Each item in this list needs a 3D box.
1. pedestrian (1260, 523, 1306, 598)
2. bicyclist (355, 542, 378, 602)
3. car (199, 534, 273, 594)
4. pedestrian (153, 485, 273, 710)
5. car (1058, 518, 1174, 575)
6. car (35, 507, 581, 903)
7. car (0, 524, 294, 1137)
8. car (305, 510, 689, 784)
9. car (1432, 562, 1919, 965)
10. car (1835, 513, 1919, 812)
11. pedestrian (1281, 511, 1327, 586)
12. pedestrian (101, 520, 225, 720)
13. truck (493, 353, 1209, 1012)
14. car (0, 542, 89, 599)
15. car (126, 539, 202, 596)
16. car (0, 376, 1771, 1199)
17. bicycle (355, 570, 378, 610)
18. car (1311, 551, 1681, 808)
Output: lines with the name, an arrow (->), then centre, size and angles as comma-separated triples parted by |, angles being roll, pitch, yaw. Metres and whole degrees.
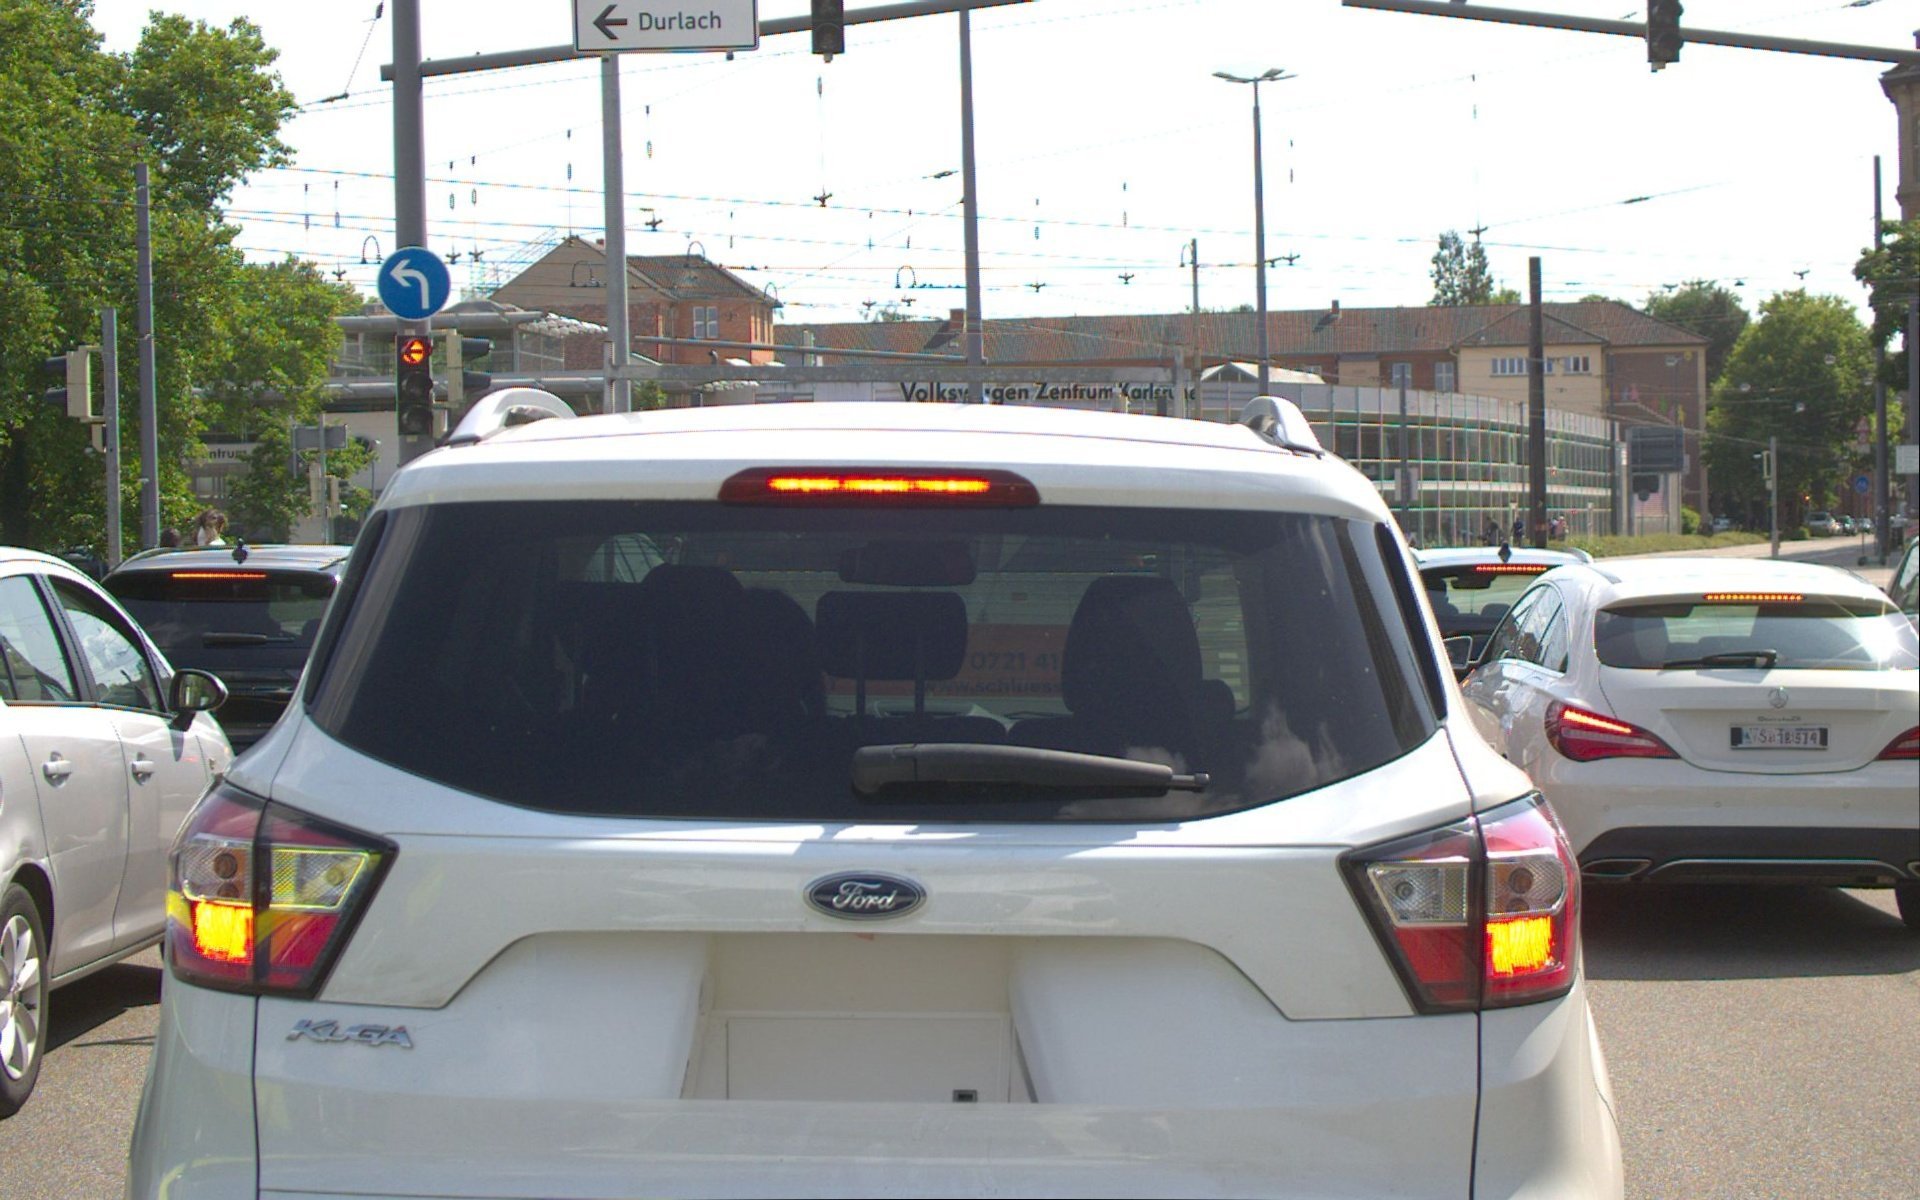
pedestrian -> 7.567, -0.927, 80.581 | 0.589, 1.738, 0.924 | 1, 1, 45
bicyclist -> -17.347, -0.832, 100.502 | 0.637, 1.732, 0.662 | 0, 1, -7
car -> -26.002, -1.274, 123.643 | 1.993, 2.007, 4.231 | -3, 0, -5
pedestrian -> -6.460, -0.026, 29.761 | 0.847, 1.910, 0.692 | -1, 0, -1
car -> 4.285, -1.471, 93.685 | 1.901, 1.456, 3.964 | -2, 1, 22
car -> -2.860, 0.377, 16.039 | 1.762, 1.563, 4.527 | -1, 1, -1
car -> -3.255, 0.536, 10.072 | 1.848, 1.469, 4.000 | -1, 1, -1
car -> -2.850, 0.234, 22.125 | 2.039, 1.573, 4.540 | 0, 1, -2
car -> 3.011, 0.558, 14.018 | 1.850, 1.414, 3.679 | 0, 1, 3
car -> 6.302, 0.338, 19.859 | 1.837, 1.646, 3.999 | 0, 0, 6
pedestrian -> 8.005, -1.197, 79.928 | 0.924, 1.738, 0.589 | 0, 1, -44
pedestrian -> -6.702, 0.160, 28.933 | 0.847, 1.642, 0.692 | -1, 0, -1
truck -> -0.322, 0.214, 14.151 | 2.339, 2.148, 5.852 | 0, 1, 1
car -> -33.342, -1.050, 125.128 | 1.967, 1.930, 5.069 | -3, 0, -1
car -> -28.662, -1.146, 123.899 | 1.967, 1.930, 4.231 | -3, 0, -5
car -> -0.019, 0.580, 5.390 | 1.827, 1.658, 3.955 | 0, 1, 3
bicycle -> -17.387, -0.294, 100.754 | 0.637, 1.121, 1.785 | -1, 2, -9
car -> 3.144, 0.415, 20.819 | 1.850, 1.414, 3.679 | 0, 1, 3
